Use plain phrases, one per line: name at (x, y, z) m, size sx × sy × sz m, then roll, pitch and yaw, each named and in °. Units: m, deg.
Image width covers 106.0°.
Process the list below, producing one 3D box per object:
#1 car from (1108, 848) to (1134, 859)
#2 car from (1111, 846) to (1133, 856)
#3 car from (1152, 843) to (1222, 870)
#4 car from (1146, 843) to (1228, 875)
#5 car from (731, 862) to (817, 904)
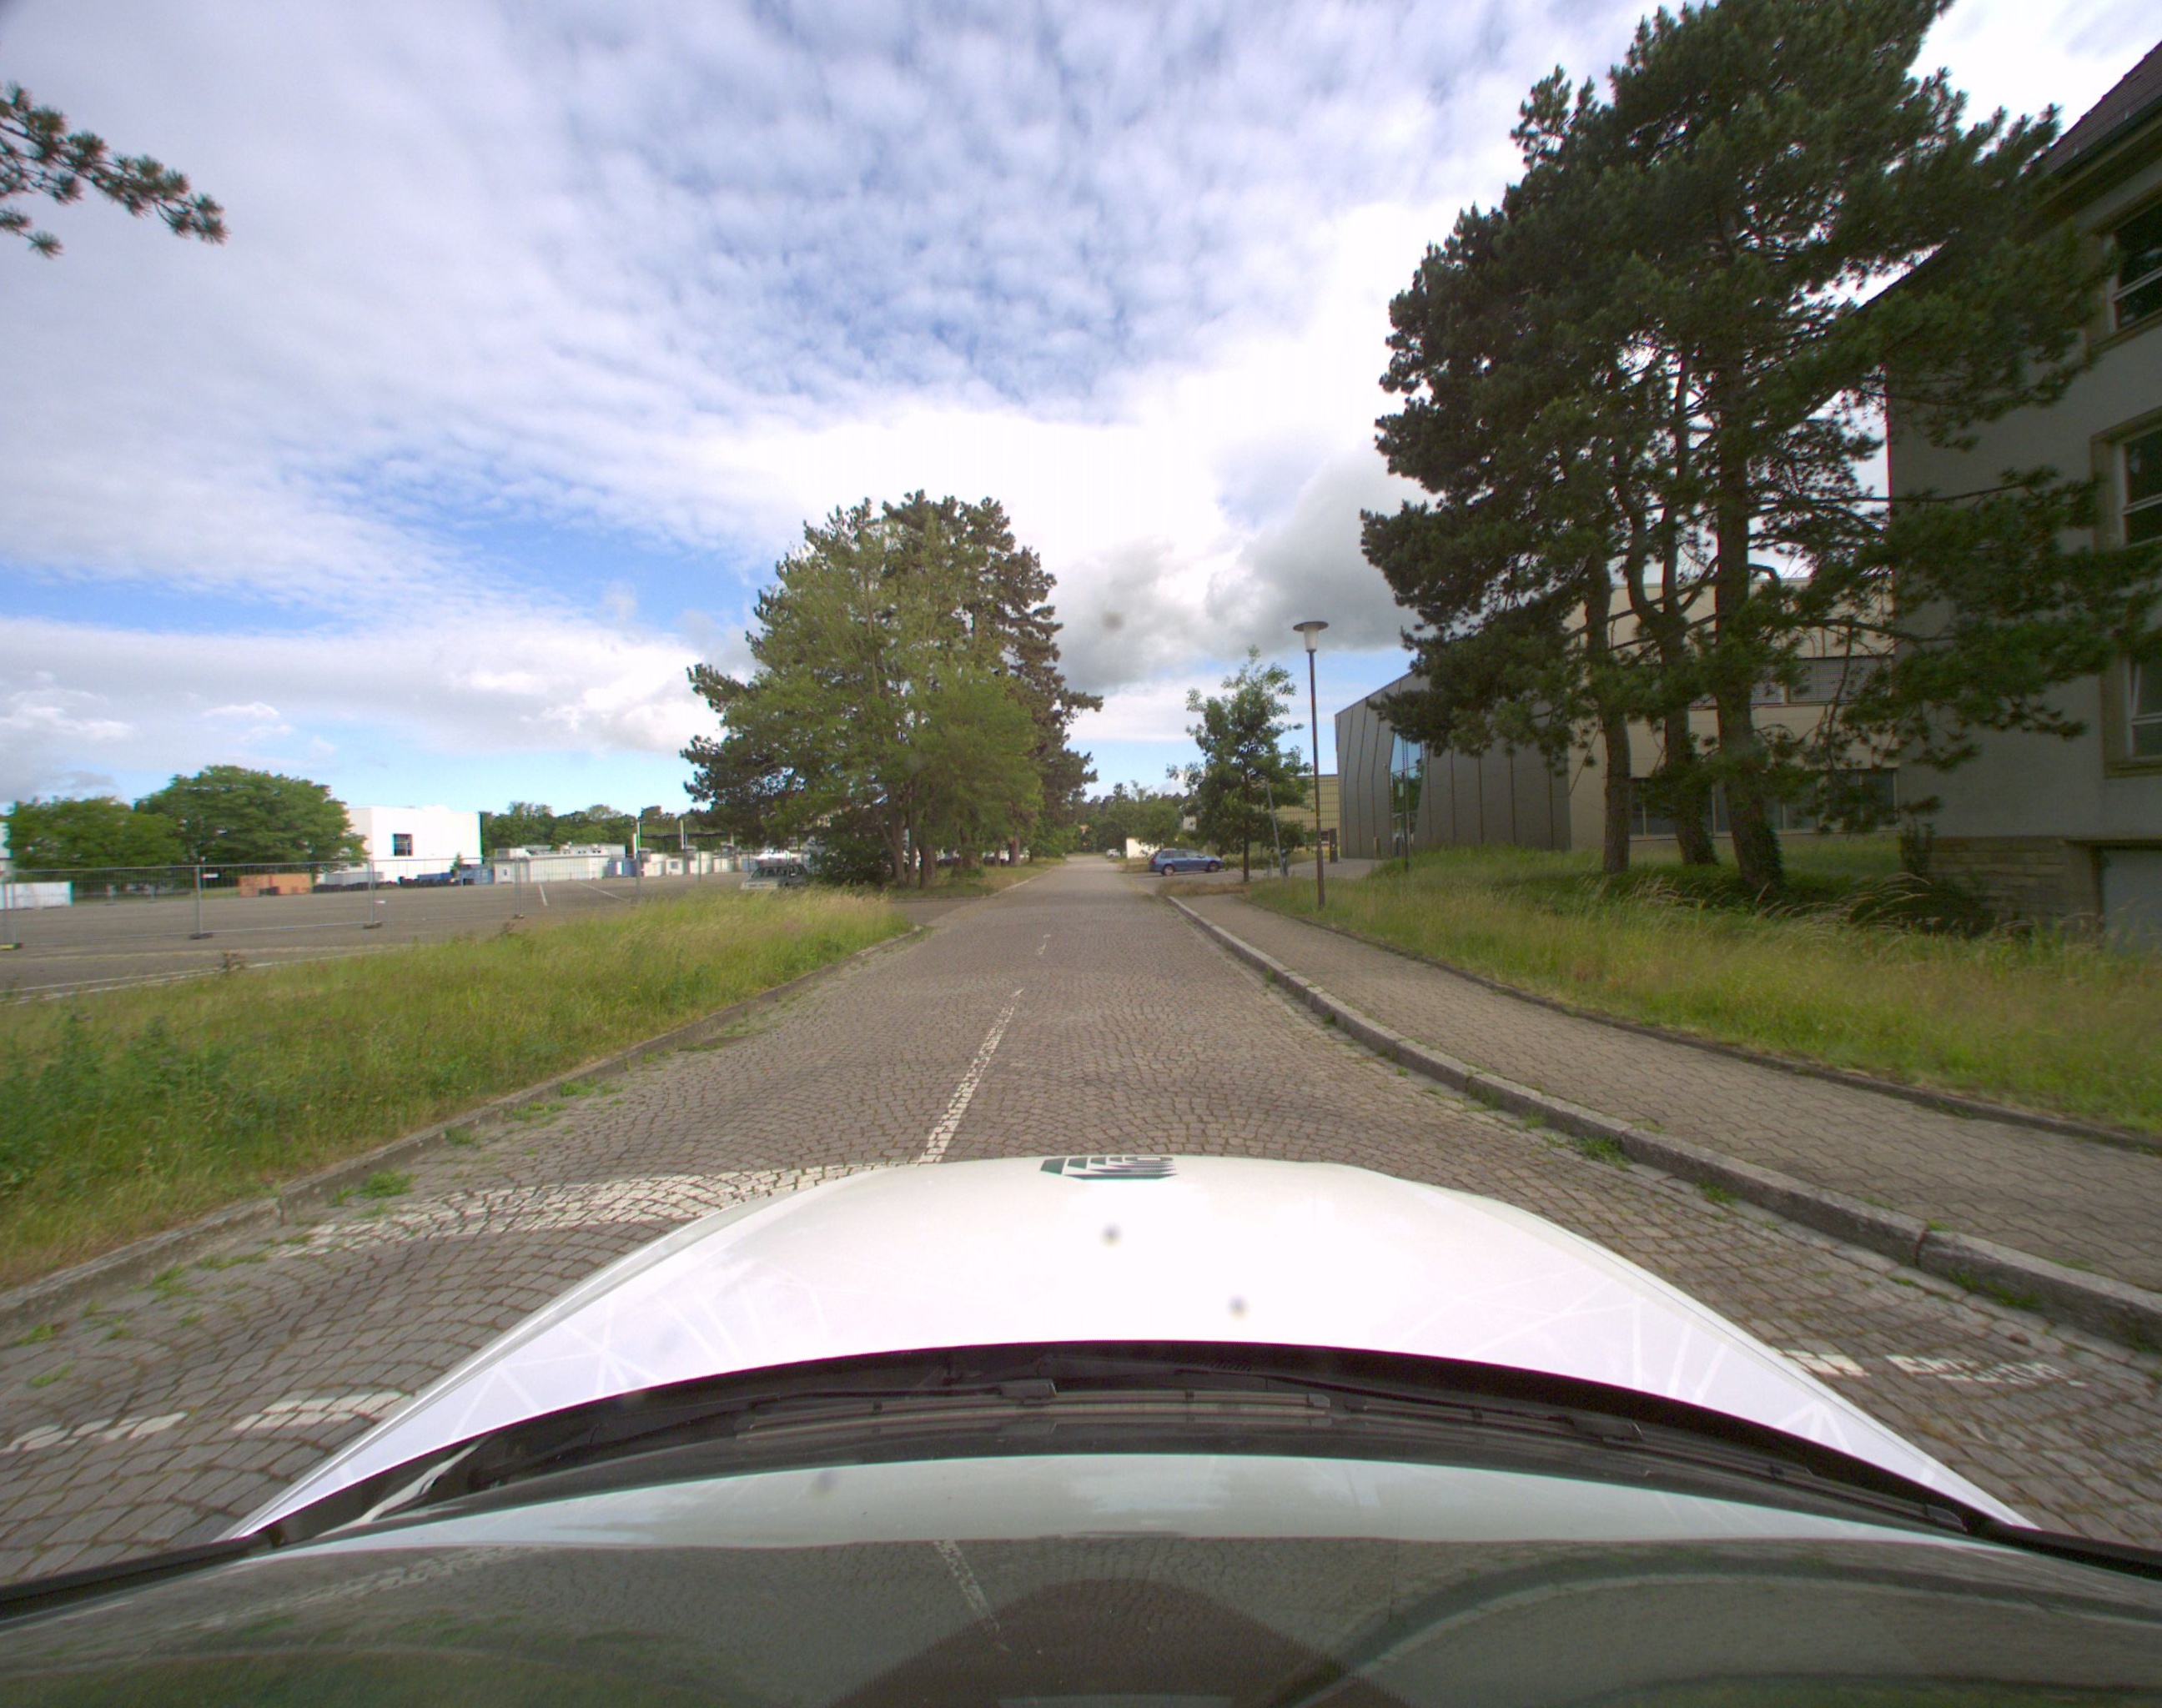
car at (6.902, -0.111, 141.657) m, size 4.341 × 1.687 × 1.925 m, roll -2°, pitch 0°, yaw -1°
car at (8.134, -0.644, 162.649) m, size 4.338 × 1.780 × 1.926 m, roll -2°, pitch 0°, yaw 2°
car at (7.164, 0.160, 55.439) m, size 4.501 × 1.531 × 2.001 m, roll -4°, pitch 0°, yaw 1°
car at (6.216, 0.298, 48.079) m, size 4.507 × 1.531 × 1.998 m, roll -4°, pitch 0°, yaw -3°
car at (-12.467, 1.127, 33.356) m, size 1.914 × 1.476 × 4.366 m, roll -2°, pitch 0°, yaw -2°
